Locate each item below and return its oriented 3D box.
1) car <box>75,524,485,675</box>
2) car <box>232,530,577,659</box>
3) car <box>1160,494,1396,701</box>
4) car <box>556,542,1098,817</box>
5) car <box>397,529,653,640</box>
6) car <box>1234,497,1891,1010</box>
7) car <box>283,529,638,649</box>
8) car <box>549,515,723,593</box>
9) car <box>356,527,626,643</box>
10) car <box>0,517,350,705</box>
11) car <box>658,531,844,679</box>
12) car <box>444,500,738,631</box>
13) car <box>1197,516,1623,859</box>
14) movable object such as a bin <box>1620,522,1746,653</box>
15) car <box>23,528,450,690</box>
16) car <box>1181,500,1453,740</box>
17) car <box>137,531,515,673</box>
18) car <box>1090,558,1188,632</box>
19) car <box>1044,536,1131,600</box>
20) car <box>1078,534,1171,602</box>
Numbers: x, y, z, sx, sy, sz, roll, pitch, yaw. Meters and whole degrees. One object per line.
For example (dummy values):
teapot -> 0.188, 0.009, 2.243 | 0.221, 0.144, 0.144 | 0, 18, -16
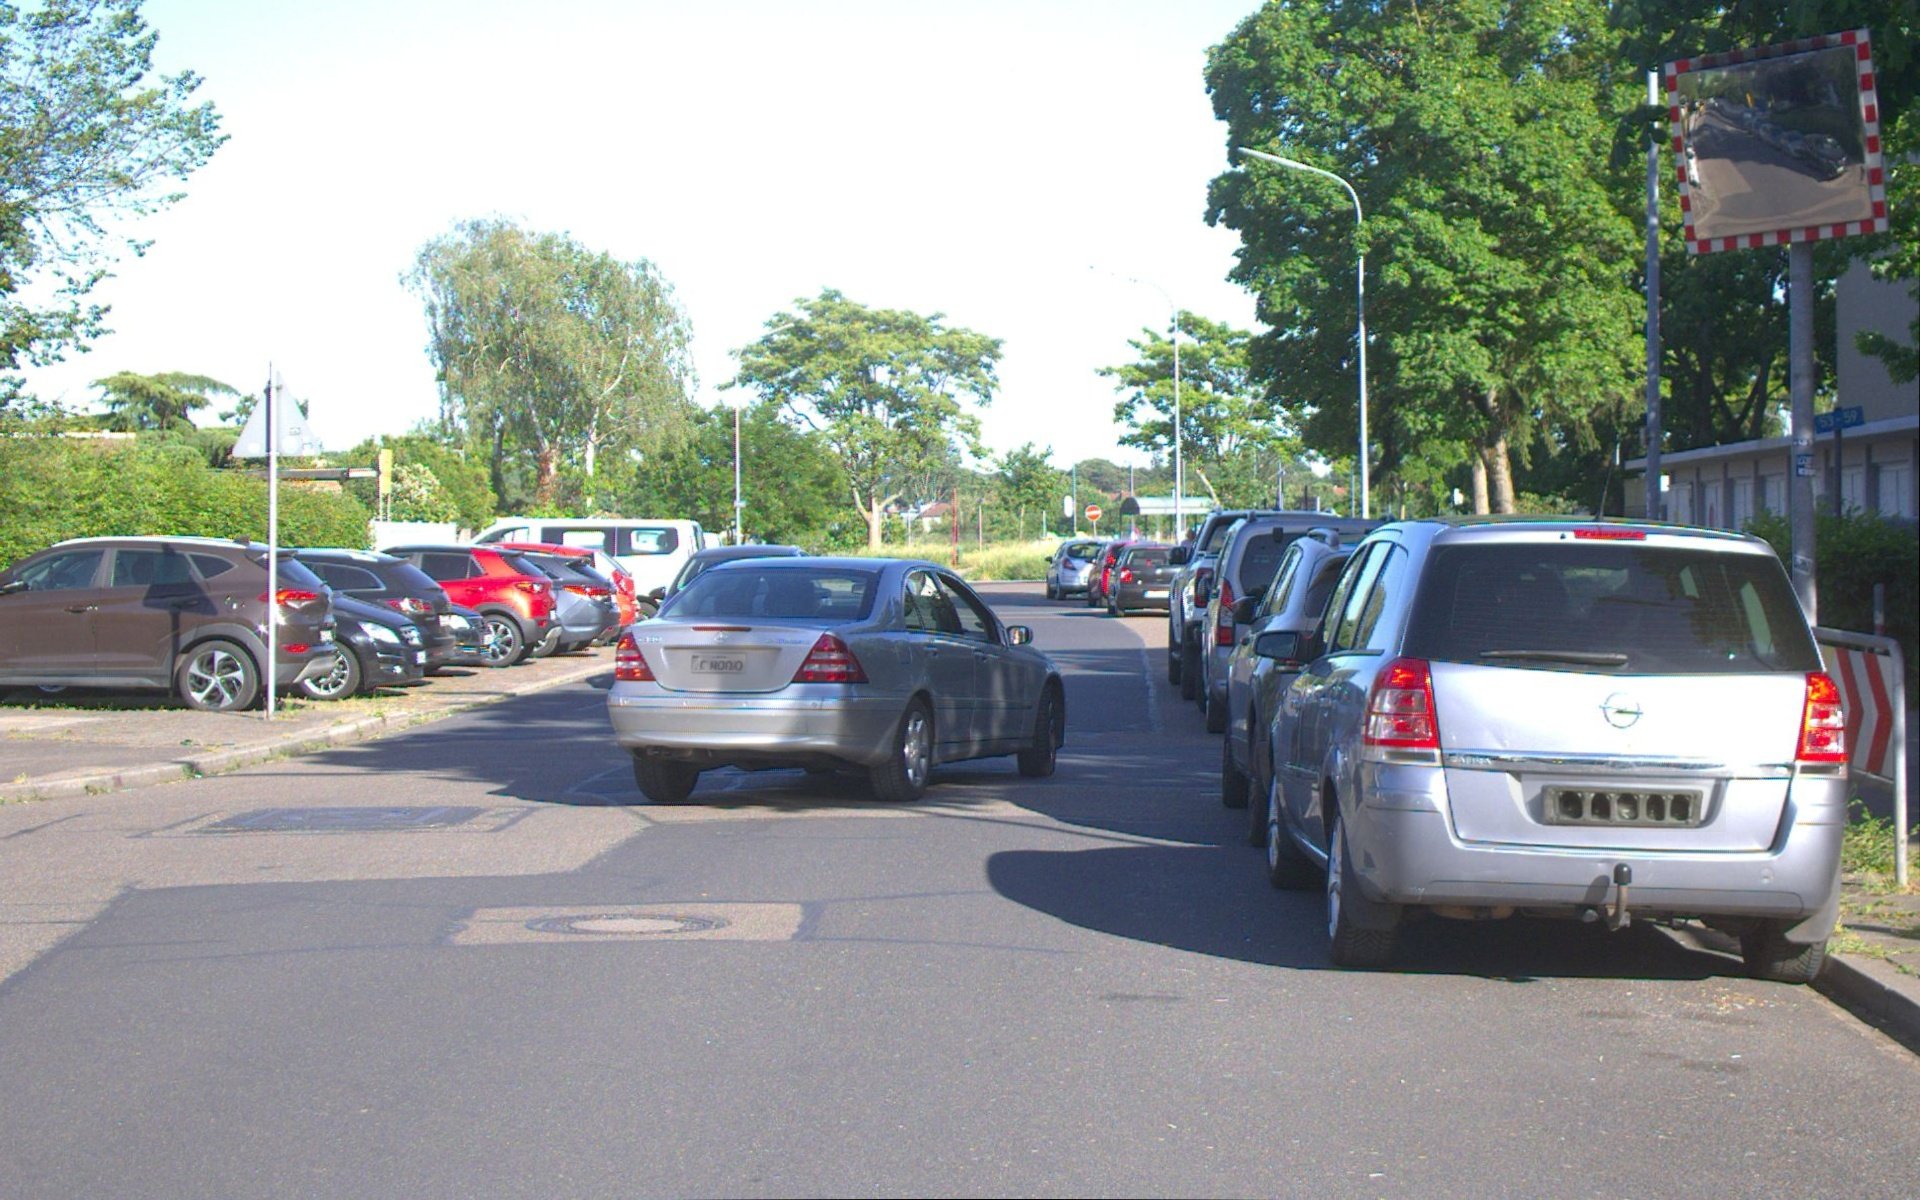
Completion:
car -> -7.409, -0.008, 37.734 | 4.092, 1.507, 1.812 | 2, 0, 0
car -> -6.958, -0.086, 43.278 | 3.987, 1.474, 1.791 | 2, 2, 2
car -> 3.053, -0.102, 34.036 | 1.906, 1.834, 5.275 | 2, 2, 1
car -> -0.682, 0.395, 21.116 | 1.818, 1.458, 4.356 | 1, 1, 20
car -> -6.643, -0.259, 52.723 | 3.602, 1.562, 1.852 | 2, 2, 2
car -> 2.110, 0.479, 13.247 | 1.768, 1.604, 4.372 | 2, 0, 1
car -> -6.809, -0.167, 47.155 | 4.544, 1.474, 1.747 | 2, 2, 2
car -> -7.561, -1.078, 80.271 | 3.976, 1.774, 1.926 | 0, 1, -5
car -> -6.817, -0.232, 50.223 | 3.602, 1.562, 1.881 | 2, 2, 2
car -> -8.067, 0.076, 32.612 | 4.187, 1.650, 1.847 | 2, 0, 0
car -> -2.329, 0.042, 39.164 | 1.649, 1.550, 4.001 | -2, 0, 3
car -> -5.947, -0.563, 55.810 | 4.479, 1.970, 2.000 | 2, 0, 1
car -> 2.279, 0.382, 18.373 | 1.804, 1.588, 4.023 | 2, 1, 1
movable object such as a bin -> 7.552, -0.130, 35.873 | 1.251, 1.342, 1.052 | 0, 0, 14
car -> -7.424, 0.087, 35.533 | 3.987, 1.527, 1.832 | 2, 0, 0
car -> 2.901, 0.087, 28.826 | 1.833, 1.785, 4.555 | 2, 2, 1
car -> -7.347, 0.017, 40.140 | 4.019, 1.507, 1.906 | 2, 0, 0
car -> 3.524, -0.109, 68.240 | 1.647, 1.398, 3.882 | -1, 0, -1
car -> 3.152, -0.798, 85.602 | 1.731, 1.537, 3.789 | 0, 0, -4
car -> 3.618, -0.707, 76.111 | 1.575, 1.441, 3.789 | 0, 0, -4
